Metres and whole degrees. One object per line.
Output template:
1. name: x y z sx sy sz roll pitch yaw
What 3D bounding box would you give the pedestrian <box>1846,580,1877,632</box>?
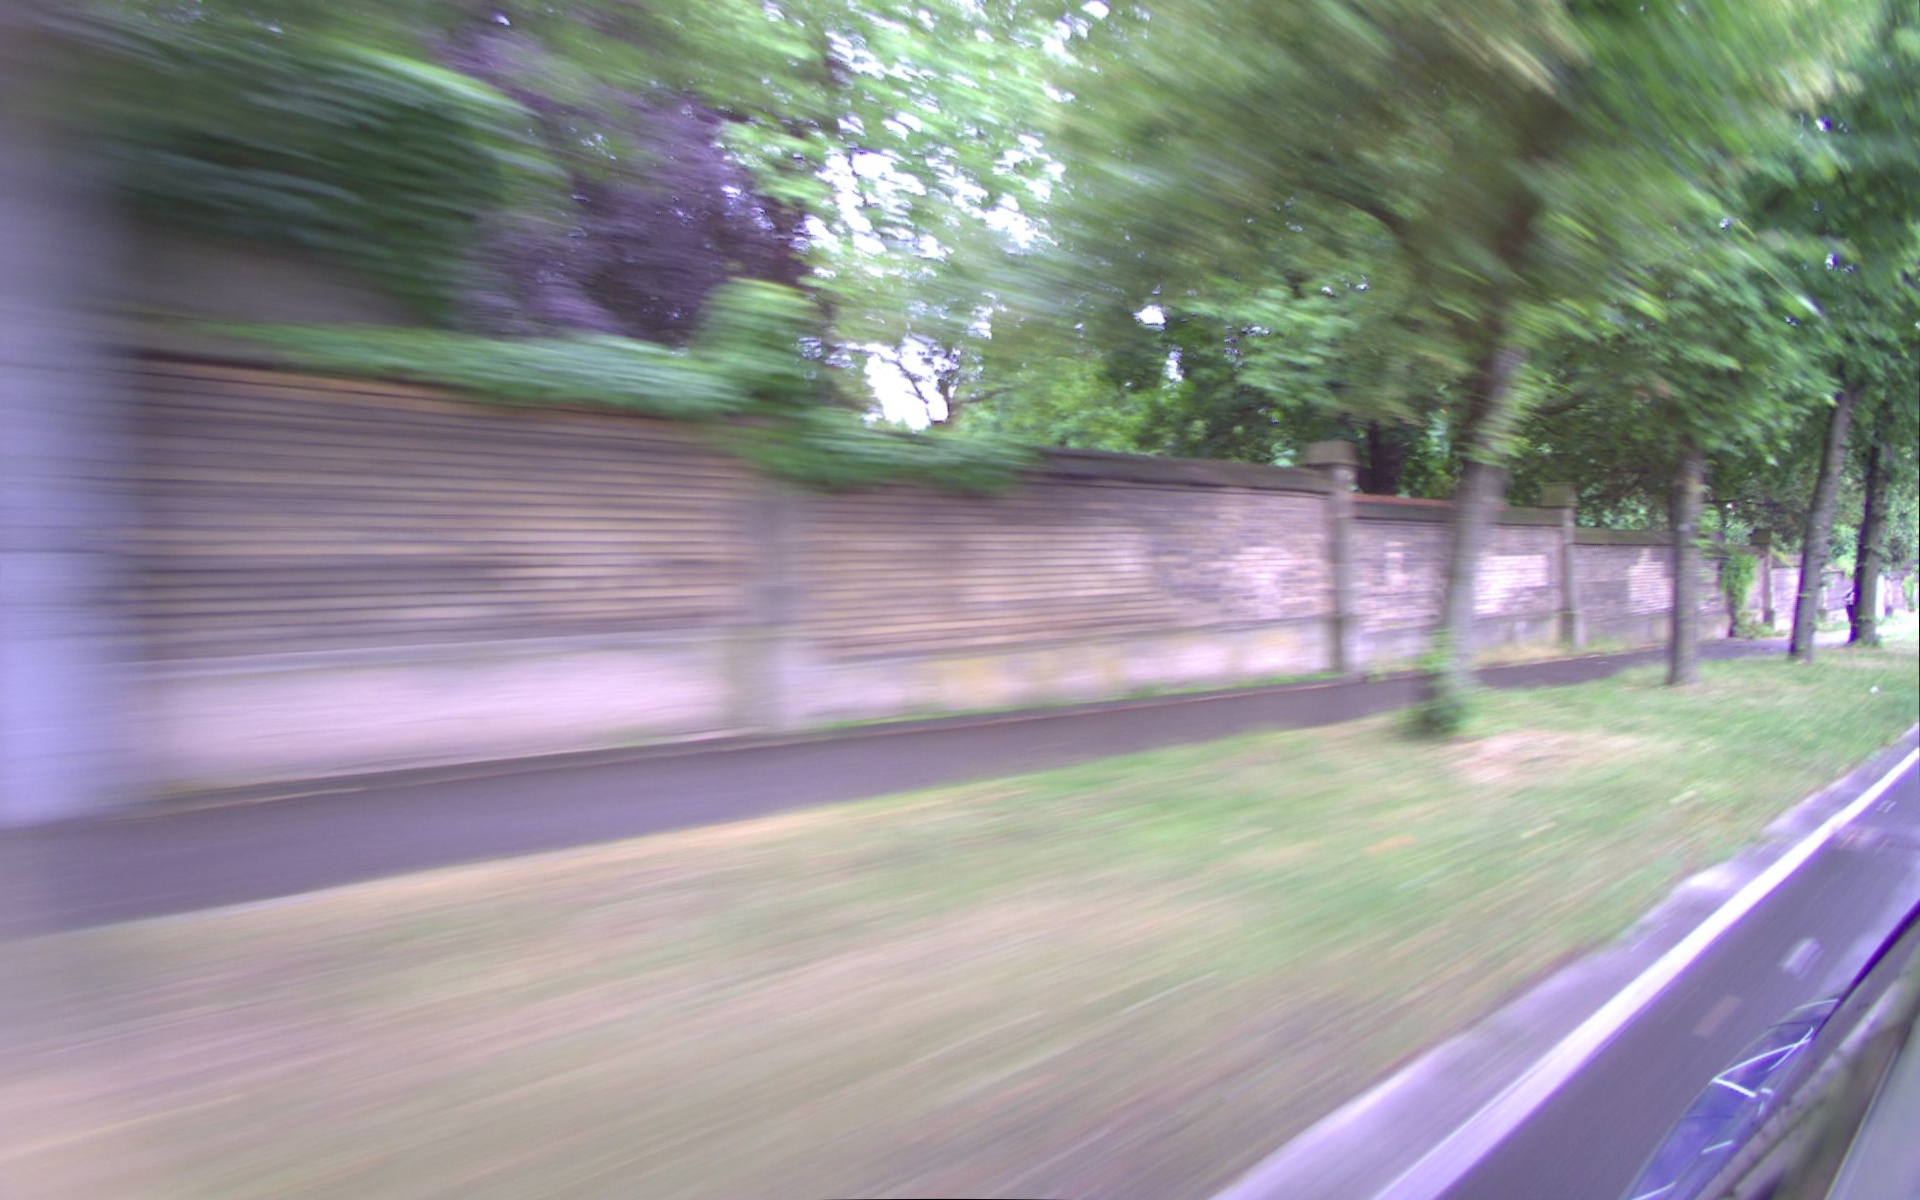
1. pedestrian: 31.679 0.194 35.578 0.886 1.801 0.709 0 1 -44
